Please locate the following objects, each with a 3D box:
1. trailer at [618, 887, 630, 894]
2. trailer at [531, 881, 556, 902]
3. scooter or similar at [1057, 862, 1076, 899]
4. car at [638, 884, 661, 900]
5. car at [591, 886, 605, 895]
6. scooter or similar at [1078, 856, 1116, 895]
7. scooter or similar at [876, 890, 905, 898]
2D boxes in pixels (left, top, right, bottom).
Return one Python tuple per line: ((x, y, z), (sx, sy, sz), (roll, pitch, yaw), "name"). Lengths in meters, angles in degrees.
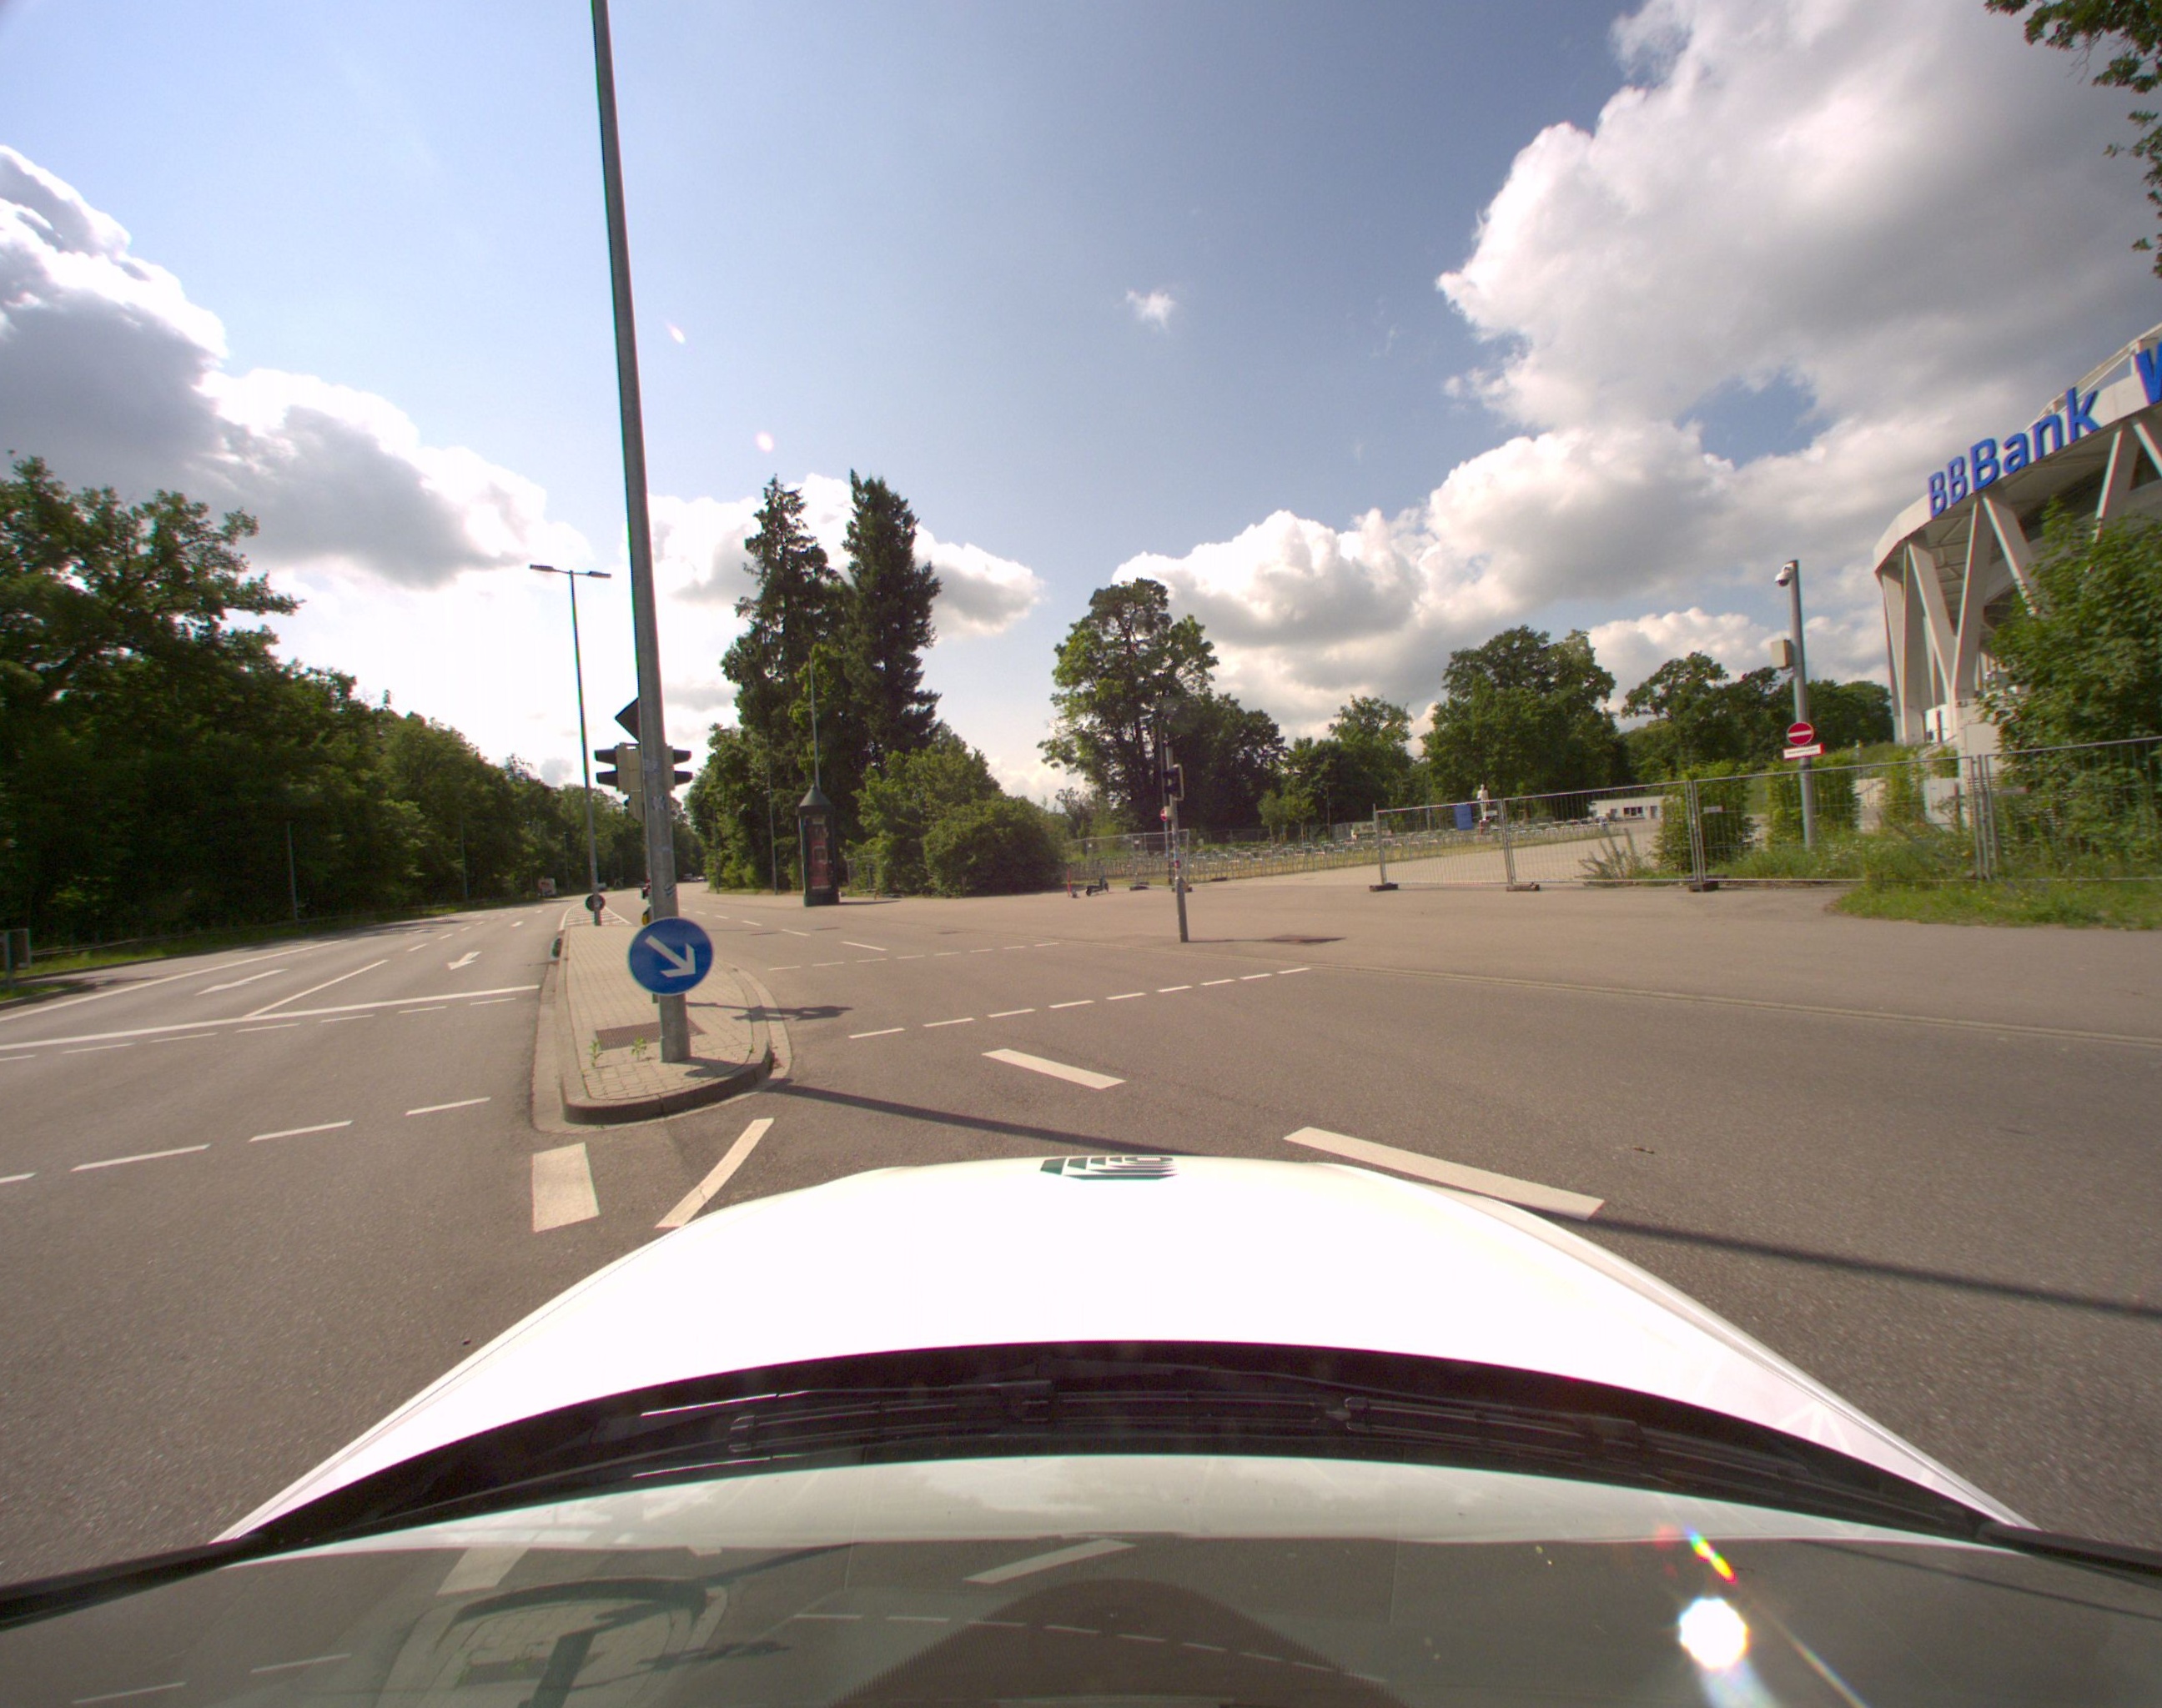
((-93.144, 7.492, 166.028), (1.723, 1.355, 3.705), (-3, -1, -22), "trailer")
((-66.106, 4.568, 100.195), (2.004, 2.389, 3.965), (-3, -1, -26), "trailer")
((-0.504, 0.895, 28.008), (0.404, 1.200, 1.314), (-5, 0, 6), "scooter or similar")
((-40.928, 3.587, 77.209), (1.609, 1.378, 3.934), (-3, -1, -33), "car")
((-85.779, 6.470, 144.667), (1.509, 1.446, 3.503), (-3, -1, -21), "car")
((0.560, 0.746, 28.598), (1.319, 1.252, 0.402), (-5, 0, -40), "scooter or similar")
((-8.882, 1.858, 37.986), (0.859, 0.389, 1.458), (2, -3, -35), "scooter or similar")
